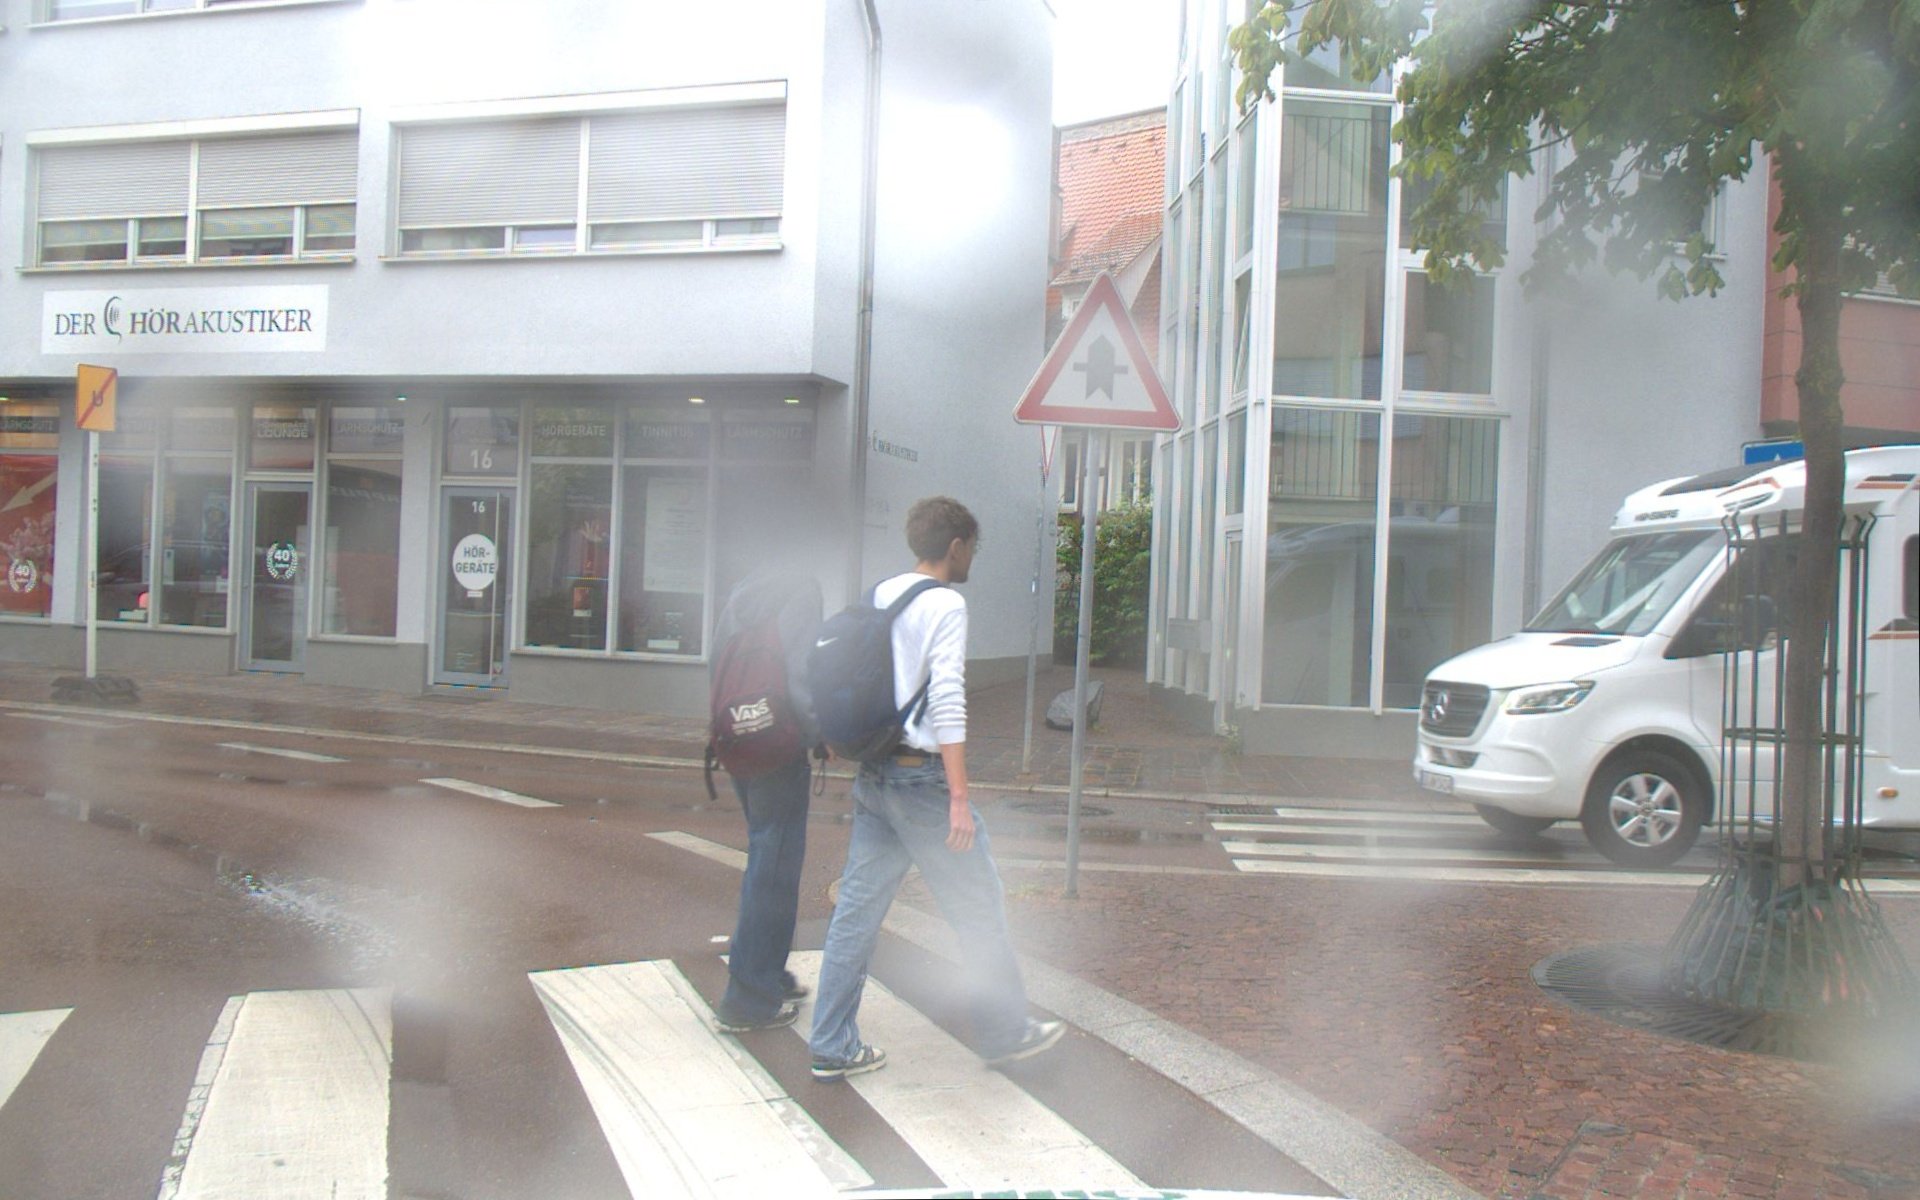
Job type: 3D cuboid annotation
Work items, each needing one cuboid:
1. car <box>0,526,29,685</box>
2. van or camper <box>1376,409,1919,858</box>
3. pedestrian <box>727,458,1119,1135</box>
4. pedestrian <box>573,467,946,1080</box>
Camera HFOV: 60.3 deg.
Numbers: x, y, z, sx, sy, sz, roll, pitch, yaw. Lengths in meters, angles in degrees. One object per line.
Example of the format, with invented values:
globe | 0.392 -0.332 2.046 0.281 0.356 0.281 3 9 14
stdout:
car | -12.250 -0.004 17.271 4.360 1.659 1.783 2 1 14
van or camper | 6.541 0.315 11.506 6.602 2.631 2.441 2 -1 -8
pedestrian | -0.088 0.537 5.114 0.653 1.838 1.056 1 -1 38
pedestrian | -0.649 0.521 5.584 0.680 1.832 1.055 1 -1 34
